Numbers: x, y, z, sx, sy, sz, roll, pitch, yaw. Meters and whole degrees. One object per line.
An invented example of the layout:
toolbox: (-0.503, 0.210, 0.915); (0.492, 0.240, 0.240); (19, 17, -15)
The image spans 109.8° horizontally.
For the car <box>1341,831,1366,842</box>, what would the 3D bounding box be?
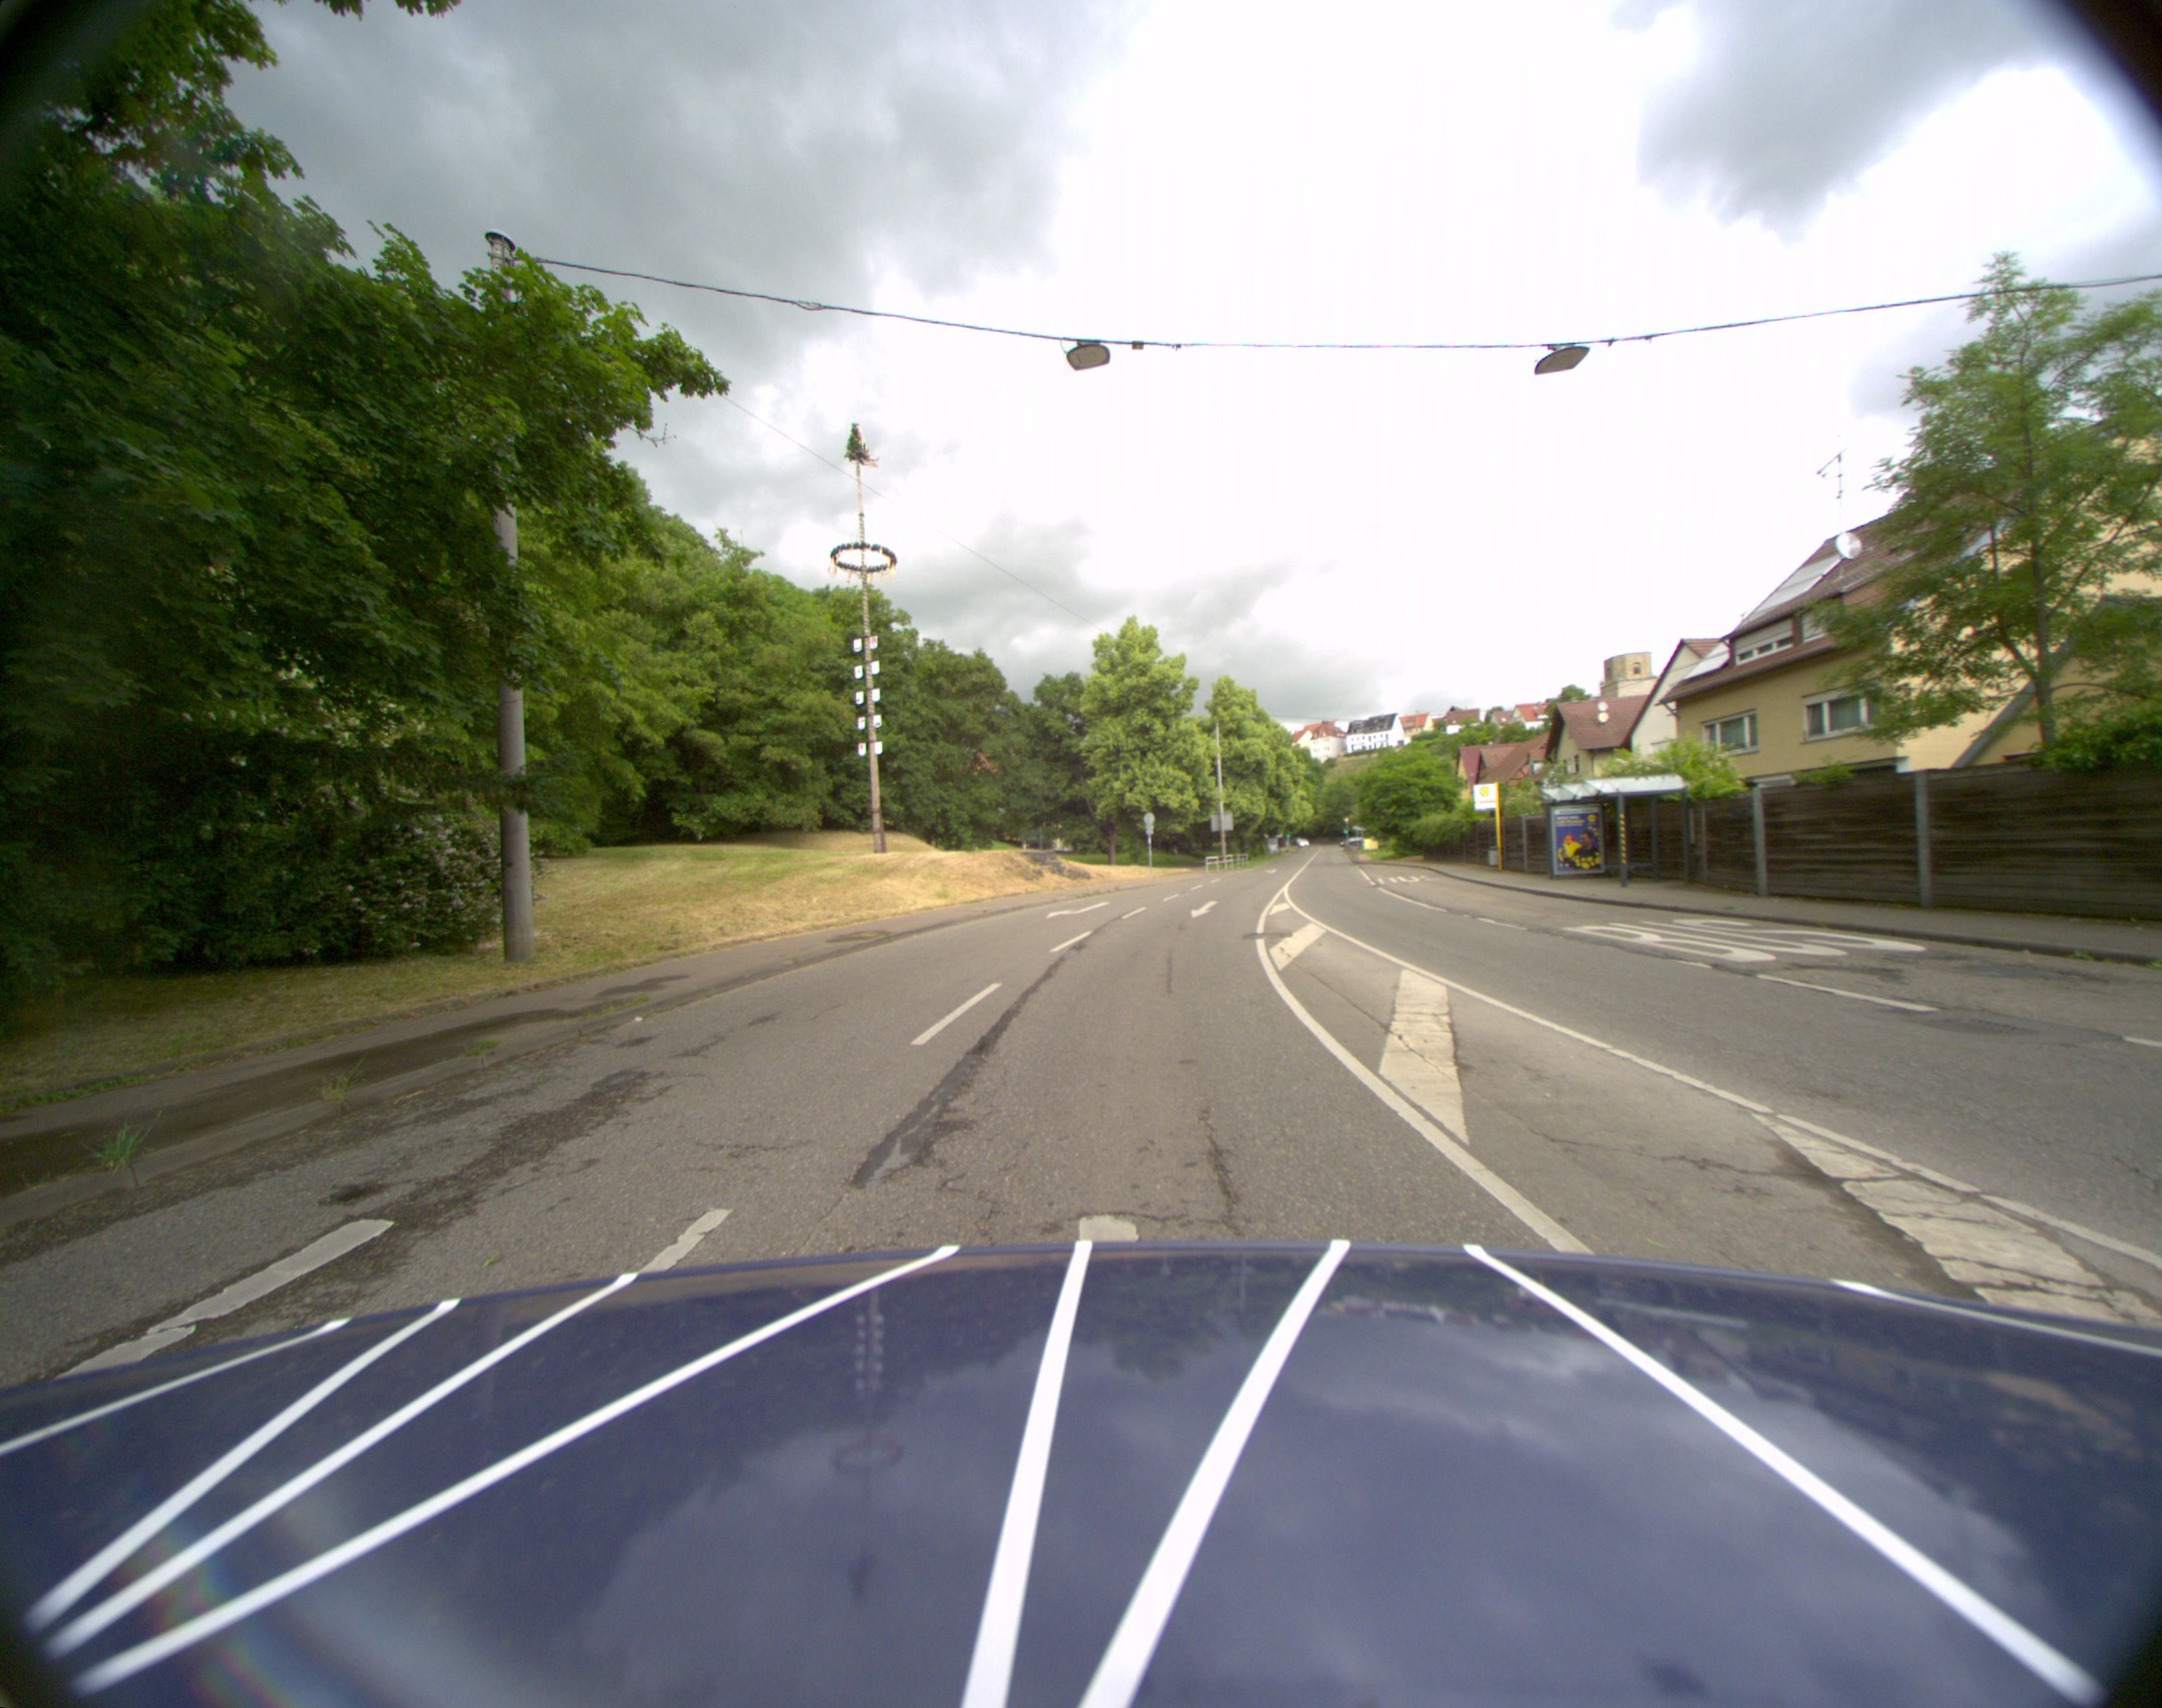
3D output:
car: (45.093, -2.851, 125.734); (3.677, 1.575, 1.766); (-2, 1, 10)

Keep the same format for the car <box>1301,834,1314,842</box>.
car: (44.851, -3.218, 150.660); (1.763, 1.516, 3.684); (-2, 1, 6)
